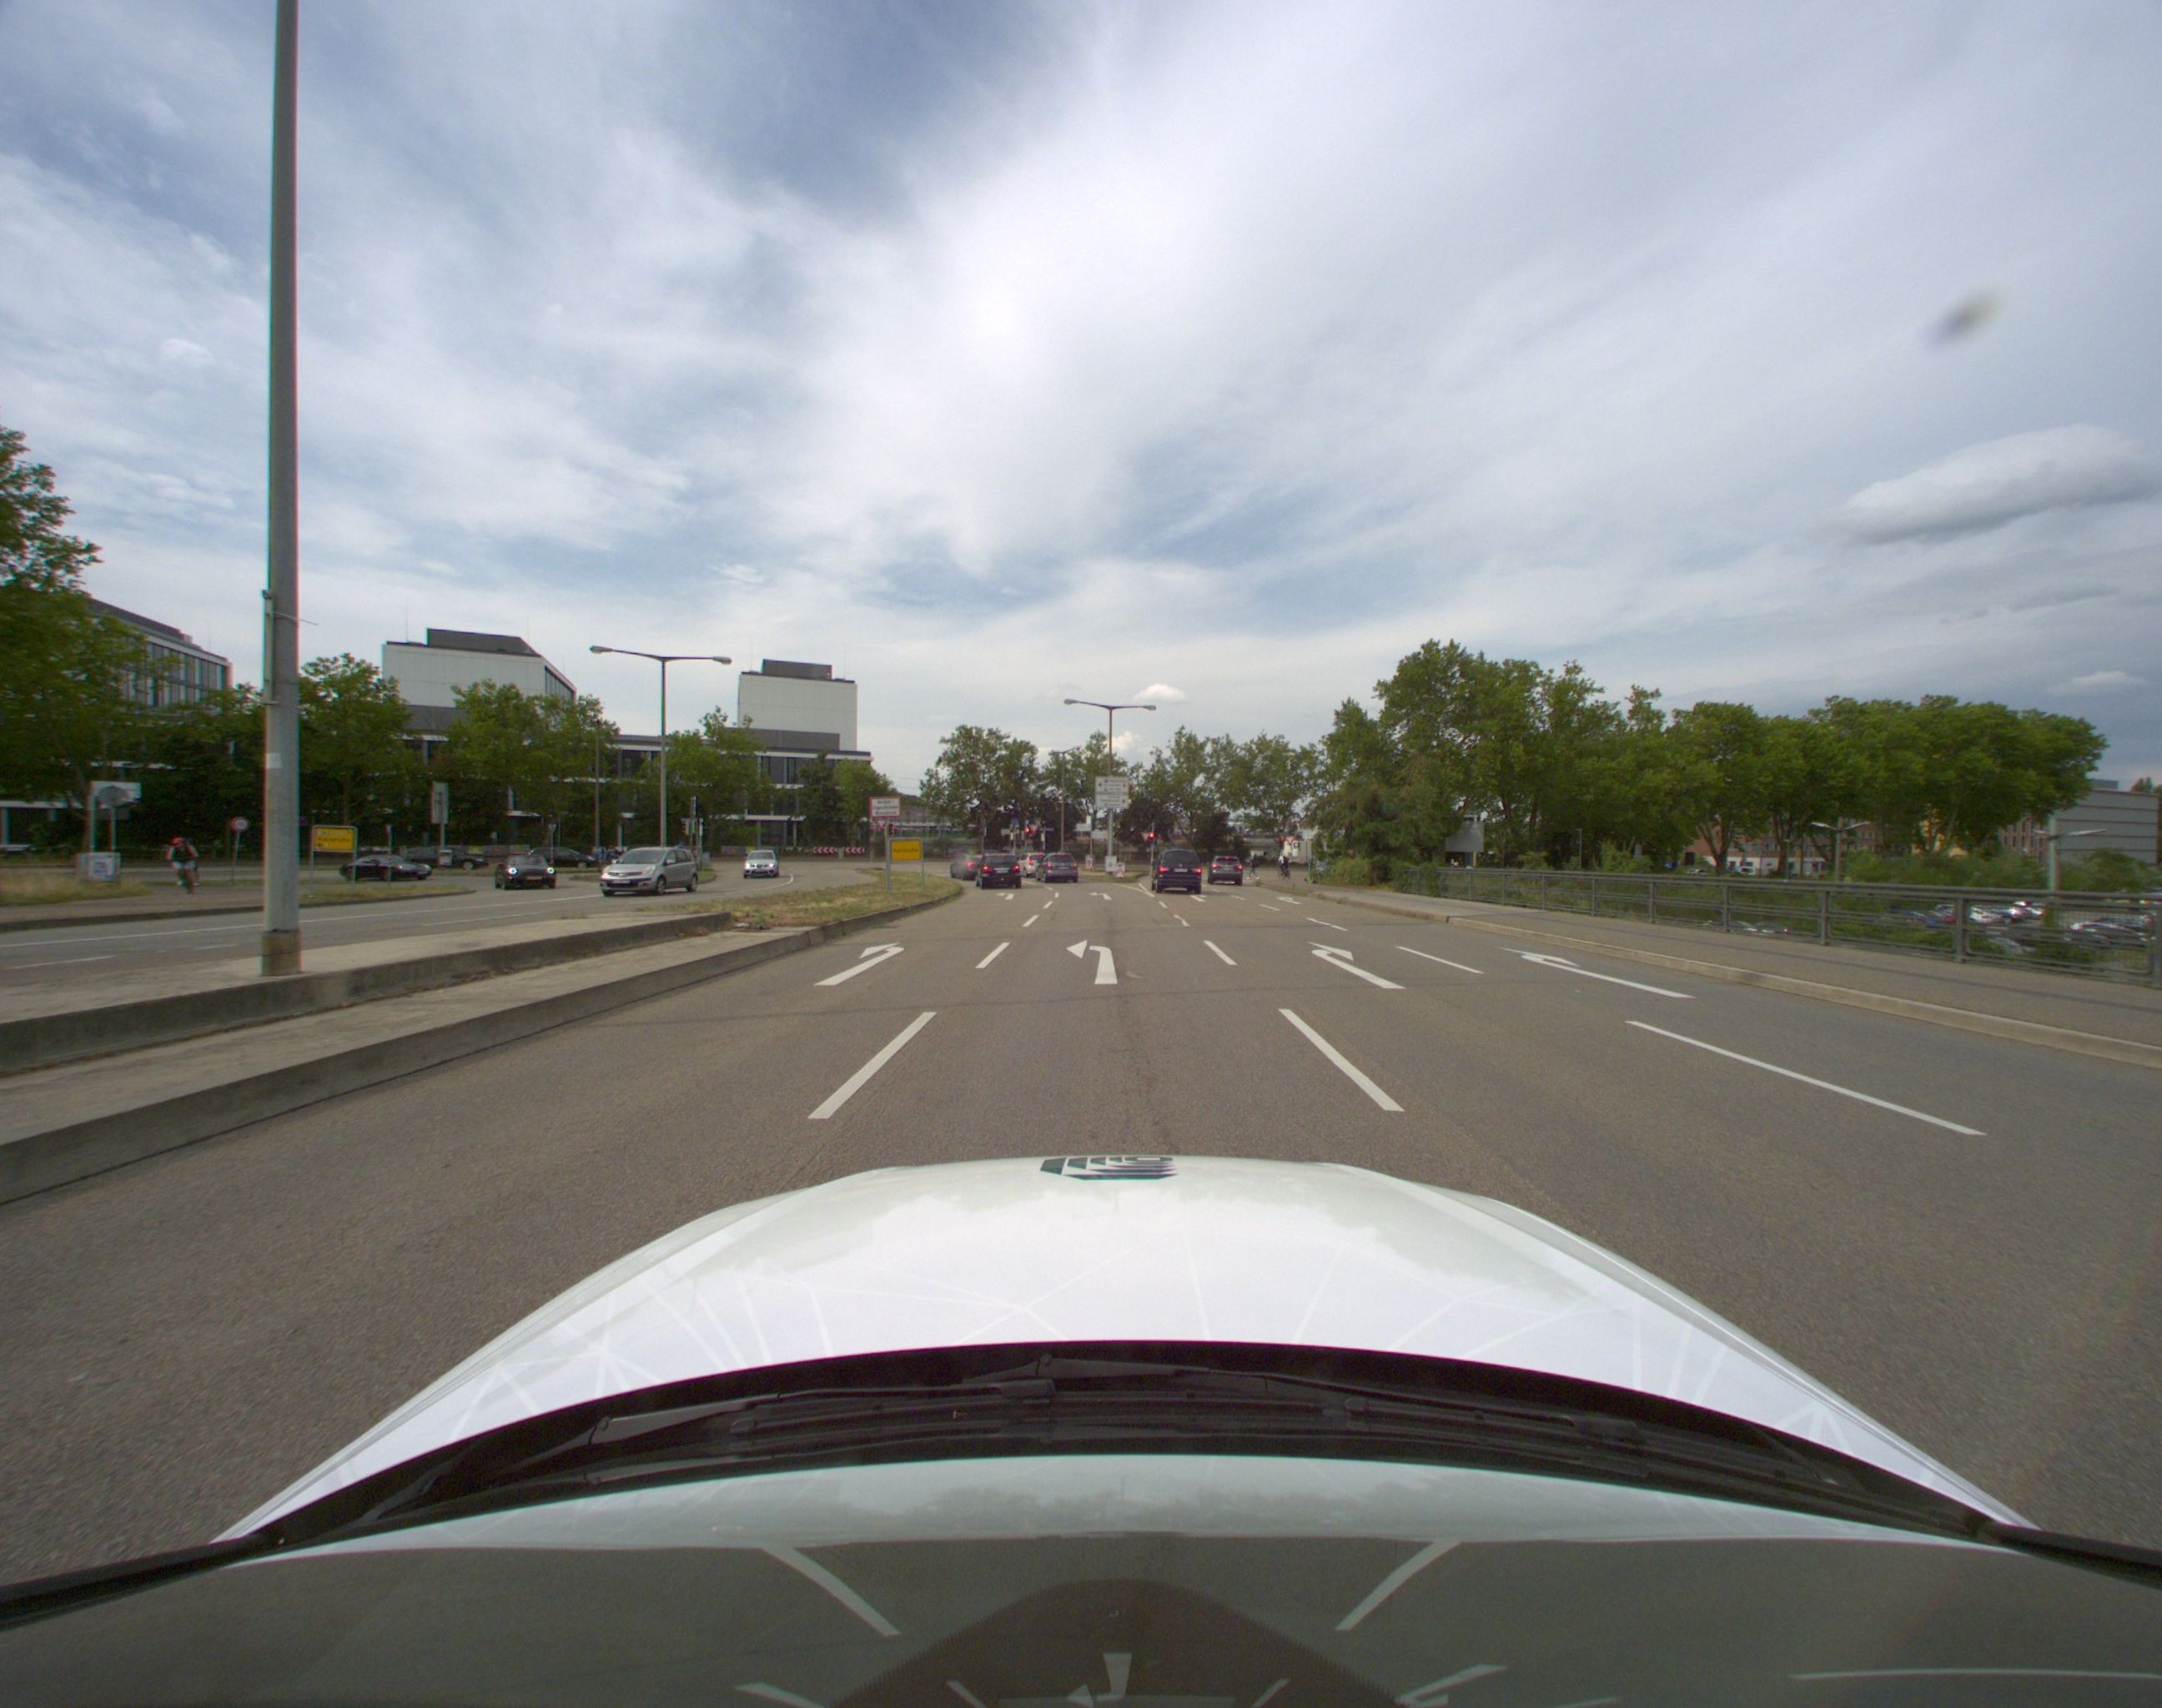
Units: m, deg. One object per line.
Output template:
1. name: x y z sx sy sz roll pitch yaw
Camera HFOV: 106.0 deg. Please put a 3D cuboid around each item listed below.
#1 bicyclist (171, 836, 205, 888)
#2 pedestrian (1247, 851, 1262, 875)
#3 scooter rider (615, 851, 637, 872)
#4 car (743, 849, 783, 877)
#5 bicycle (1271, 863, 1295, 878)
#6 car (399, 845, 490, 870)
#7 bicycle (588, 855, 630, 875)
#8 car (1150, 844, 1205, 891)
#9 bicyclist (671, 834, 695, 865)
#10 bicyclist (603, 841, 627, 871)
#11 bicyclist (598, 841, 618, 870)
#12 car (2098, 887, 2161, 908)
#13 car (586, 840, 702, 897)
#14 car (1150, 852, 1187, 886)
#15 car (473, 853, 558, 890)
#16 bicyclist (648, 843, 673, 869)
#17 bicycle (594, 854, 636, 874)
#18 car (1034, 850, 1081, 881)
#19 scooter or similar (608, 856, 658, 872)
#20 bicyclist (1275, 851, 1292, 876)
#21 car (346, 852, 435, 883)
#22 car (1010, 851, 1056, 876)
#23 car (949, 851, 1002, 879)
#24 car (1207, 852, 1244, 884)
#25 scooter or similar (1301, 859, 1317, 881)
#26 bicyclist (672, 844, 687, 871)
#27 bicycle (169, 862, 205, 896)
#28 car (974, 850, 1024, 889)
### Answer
1. bicyclist: -29.564 0.251 26.968 0.690 1.672 0.837 1 0 -44
2. pedestrian: 12.677 0.657 59.581 1.040 1.710 0.856 1 0 12
3. scooter rider: -26.262 0.427 47.023 0.798 1.137 0.922 1 1 44
4. car: -16.643 0.463 42.793 1.620 1.410 3.838 -1 0 -17
5. bicycle: 13.790 1.141 55.608 0.808 0.952 2.229 0 0 -8
6. car: -38.929 0.198 49.910 4.075 1.450 1.689 0 0 -24
7. bicycle: -25.617 0.574 44.190 1.917 1.013 0.621 0 1 -40
8. car: 3.827 0.514 32.837 1.744 1.725 4.138 2 0 1
9. bicyclist: -21.907 -0.244 44.829 0.801 1.656 0.889 0 0 36
10. bicyclist: -24.969 0.104 43.618 1.024 1.539 0.621 0 1 -38
11. bicyclist: -25.650 0.070 44.157 0.845 1.529 0.621 0 1 -40
12. car: 116.063 4.815 90.197 1.764 2.013 3.972 0 1 -22
13. car: -13.925 0.445 26.228 1.739 1.658 4.072 -1 0 -4
14. car: 4.412 0.726 40.838 1.682 1.585 4.164 2 0 7
15. car: -22.930 0.690 32.989 3.826 1.410 1.759 -1 0 38
16. bicyclist: -23.707 0.096 45.952 1.123 1.436 0.640 -1 2 -43
17. bicycle: -24.957 0.540 43.644 1.916 1.013 0.621 0 1 -38
18. car: -1.286 0.579 42.949 1.743 1.546 4.064 0 0 -13
19. scooter or similar: -26.010 0.574 47.286 0.798 0.849 2.400 1 1 44
20. bicyclist: 13.797 0.629 55.540 0.810 1.696 1.113 0 0 -8
21. car: -34.299 0.635 40.444 4.298 1.446 1.838 0 0 28
22. car: -2.962 0.531 49.504 1.747 1.482 4.054 0 0 -21
23. car: -5.952 0.592 45.448 1.826 1.414 4.742 1 1 -22
24. car: 8.113 0.779 45.928 1.741 1.643 4.145 2 0 6
25. scooter or similar: 12.893 0.900 46.065 0.396 1.183 1.278 0 0 -5
26. bicyclist: -23.486 0.208 47.620 0.783 1.581 0.649 0 1 -27
27. bicycle: -29.548 0.797 26.930 0.690 1.053 1.970 1 0 -44
28. car: -3.778 0.660 36.902 1.759 1.575 4.019 1 1 -13
